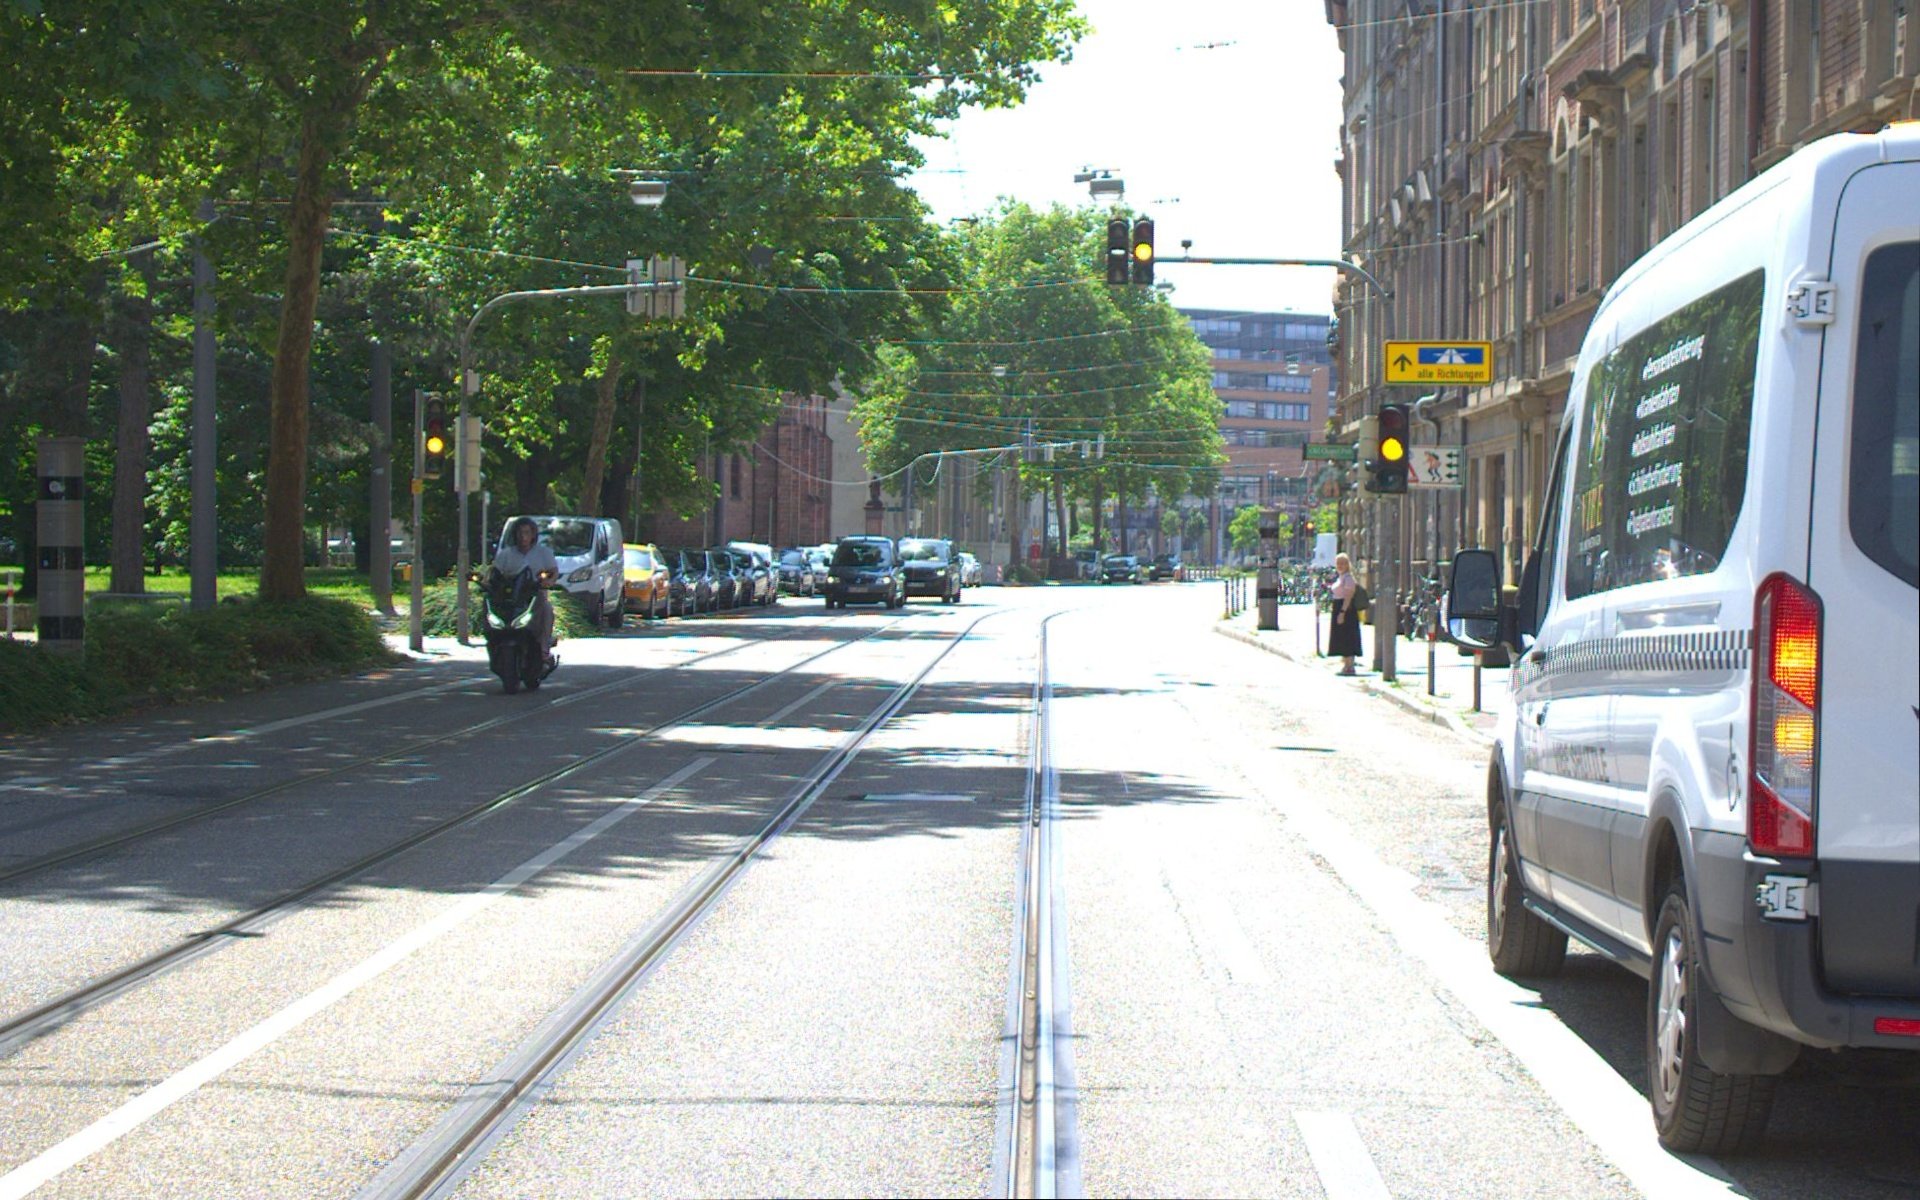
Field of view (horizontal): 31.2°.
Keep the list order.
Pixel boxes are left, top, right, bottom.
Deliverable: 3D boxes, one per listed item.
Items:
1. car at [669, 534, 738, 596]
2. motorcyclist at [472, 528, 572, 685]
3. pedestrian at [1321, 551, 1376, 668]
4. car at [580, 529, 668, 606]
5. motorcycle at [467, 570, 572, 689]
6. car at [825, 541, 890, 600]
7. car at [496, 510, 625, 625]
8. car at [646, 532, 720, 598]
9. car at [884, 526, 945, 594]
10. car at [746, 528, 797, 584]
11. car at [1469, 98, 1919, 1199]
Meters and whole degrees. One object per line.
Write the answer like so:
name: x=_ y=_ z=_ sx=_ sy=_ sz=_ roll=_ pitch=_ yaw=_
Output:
car: x=-6.484 y=-0.900 z=87.150 sx=1.454 sy=1.491 sz=3.663 roll=2 pitch=1 yaw=-1
motorcyclist: x=-4.350 y=0.063 z=34.176 sx=0.940 sy=1.527 sz=0.501 roll=1 pitch=1 yaw=-6
pedestrian: x=5.153 y=0.125 z=45.624 sx=0.618 sy=1.533 sz=0.464 roll=2 pitch=1 yaw=-1
car: x=-6.902 y=-0.686 z=70.835 sx=1.454 sy=1.491 sz=3.663 roll=2 pitch=1 yaw=-1
motorcycle: x=-4.328 y=0.277 z=33.885 sx=0.948 sy=1.110 sz=1.603 roll=1 pitch=1 yaw=-6
car: x=-2.569 y=-0.761 z=86.738 sx=1.528 sy=1.404 sz=3.490 roll=2 pitch=1 yaw=-1
car: x=-7.008 y=-0.583 z=60.604 sx=1.800 sy=1.916 sz=4.000 roll=2 pitch=1 yaw=-1
car: x=-6.530 y=-0.839 z=81.399 sx=1.454 sy=1.491 sz=3.663 roll=2 pitch=1 yaw=-1
car: x=-1.314 y=-1.151 z=97.976 sx=1.674 sy=1.853 sz=4.000 roll=2 pitch=1 yaw=-1
car: x=-6.034 y=-1.428 z=110.360 sx=1.454 sy=1.725 sz=3.194 roll=2 pitch=1 yaw=-1
car: x=2.845 y=0.161 z=10.033 sx=2.067 sy=2.492 sz=5.454 roll=2 pitch=1 yaw=3
